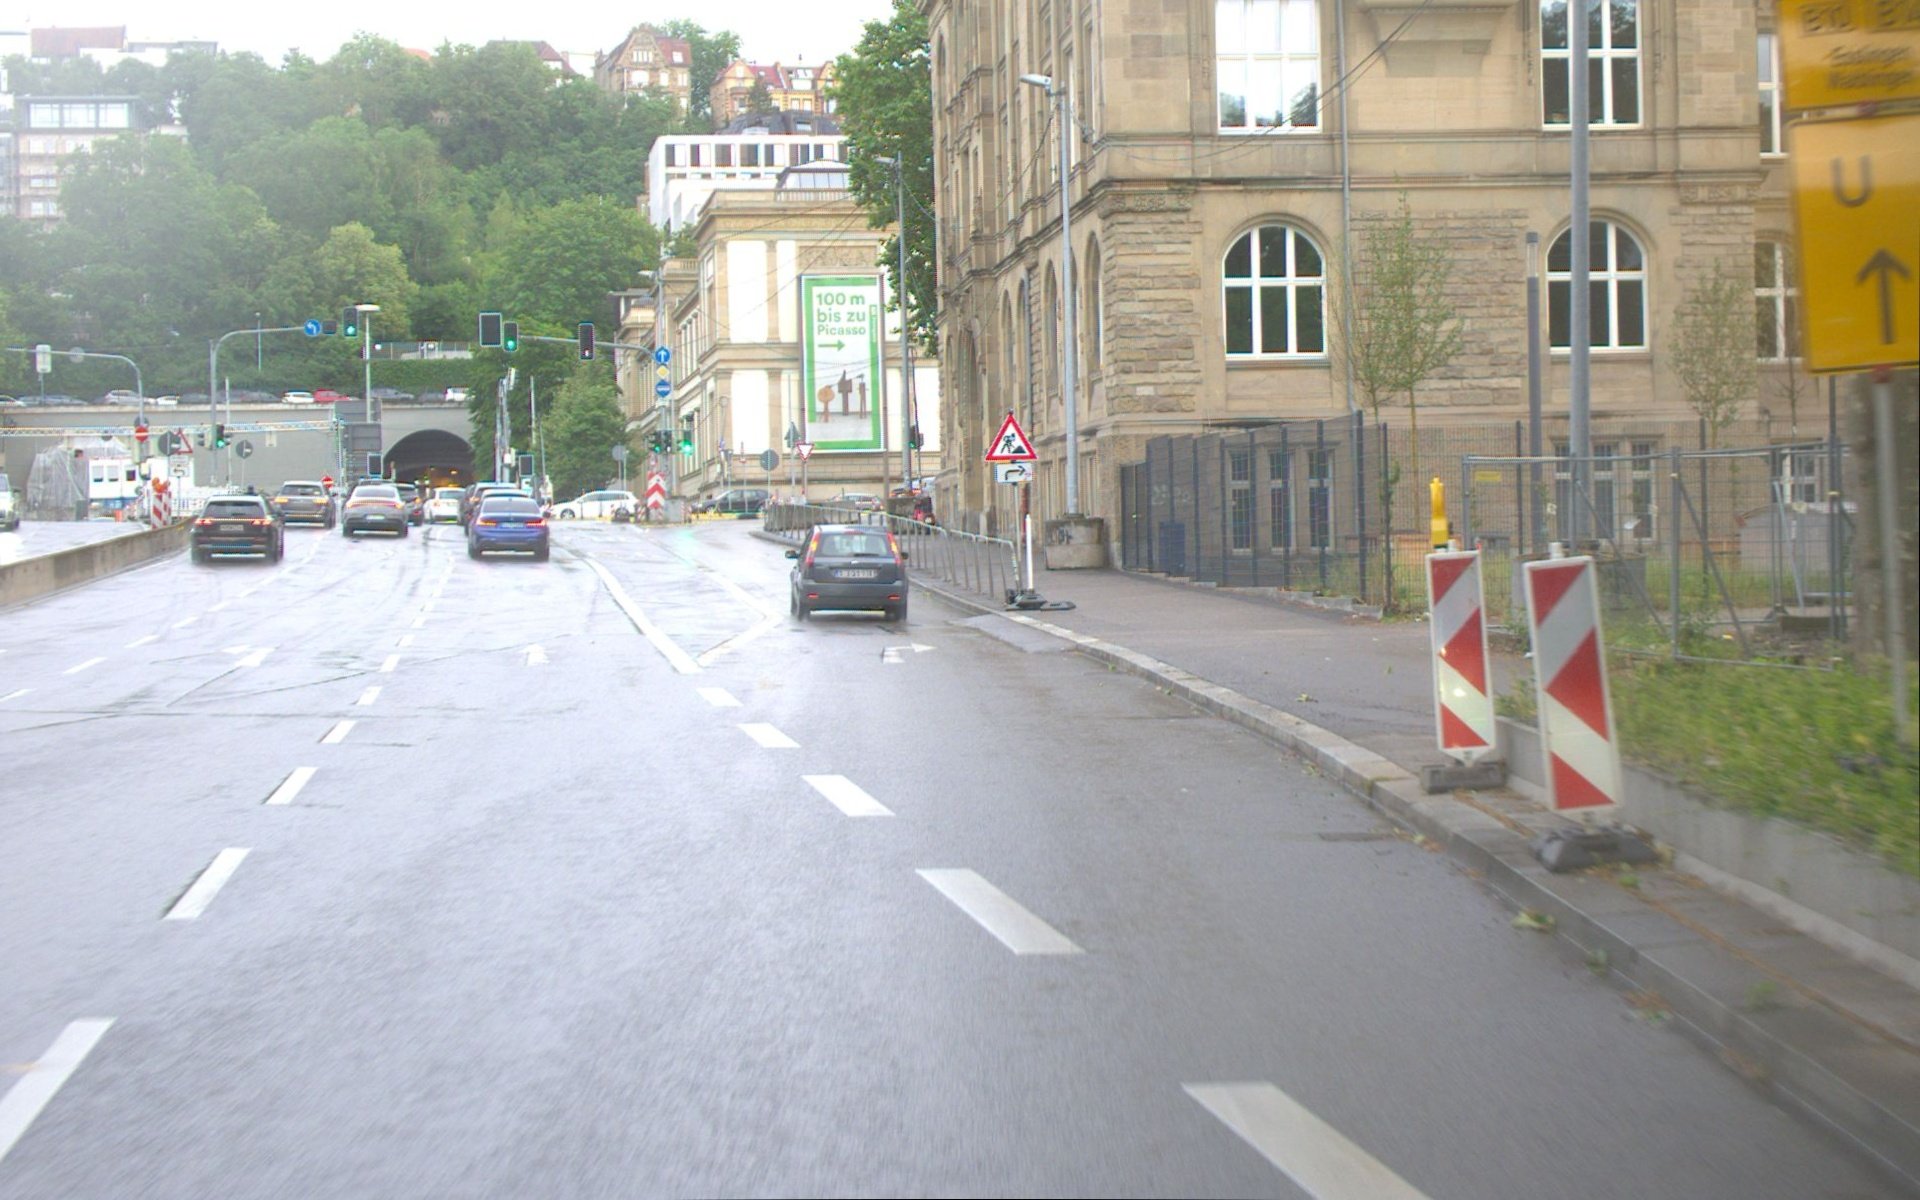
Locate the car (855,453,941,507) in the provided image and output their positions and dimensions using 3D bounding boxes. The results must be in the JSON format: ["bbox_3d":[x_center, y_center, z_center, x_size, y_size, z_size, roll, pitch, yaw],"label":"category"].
[{"bbox_3d":[-2.355,-4.555,130.857,1.995,2.007,3.996,0,1,19],"label":"car"}]

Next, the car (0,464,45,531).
[{"bbox_3d":[-28.109,-2.969,100.723,1.993,1.750,5.300,-2,0,-10],"label":"car"}]

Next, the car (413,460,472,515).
[{"bbox_3d":[-20.200,-4.367,134.037,1.993,2.007,4.001,-2,1,-12],"label":"car"}]

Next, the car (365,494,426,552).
[{"bbox_3d":[-19.373,-2.626,117.861,1.993,1.863,4.001,-2,0,-10],"label":"car"}]

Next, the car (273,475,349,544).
[{"bbox_3d":[-20.459,-2.835,108.479,1.993,2.007,4.001,-2,0,-6],"label":"car"}]

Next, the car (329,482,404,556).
[{"bbox_3d":[-17.225,-2.338,99.875,2.051,2.007,4.001,-2,0,-9],"label":"car"}]

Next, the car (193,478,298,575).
[{"bbox_3d":[-15.953,-1.621,76.944,2.016,2.007,4.001,-2,0,-8],"label":"car"}]

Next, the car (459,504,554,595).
[{"bbox_3d":[-10.757,-1.166,81.392,2.104,2.043,4.001,-2,0,-8],"label":"car"}]

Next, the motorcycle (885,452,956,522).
[{"bbox_3d":[-1.183,-3.356,101.740,1.795,2.006,3.814,-1,2,-5],"label":"motorcycle"}]

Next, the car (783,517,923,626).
[{"bbox_3d":[-1.662,-0.425,52.147,1.812,1.521,4.001,-2,0,-5],"label":"car"}]
